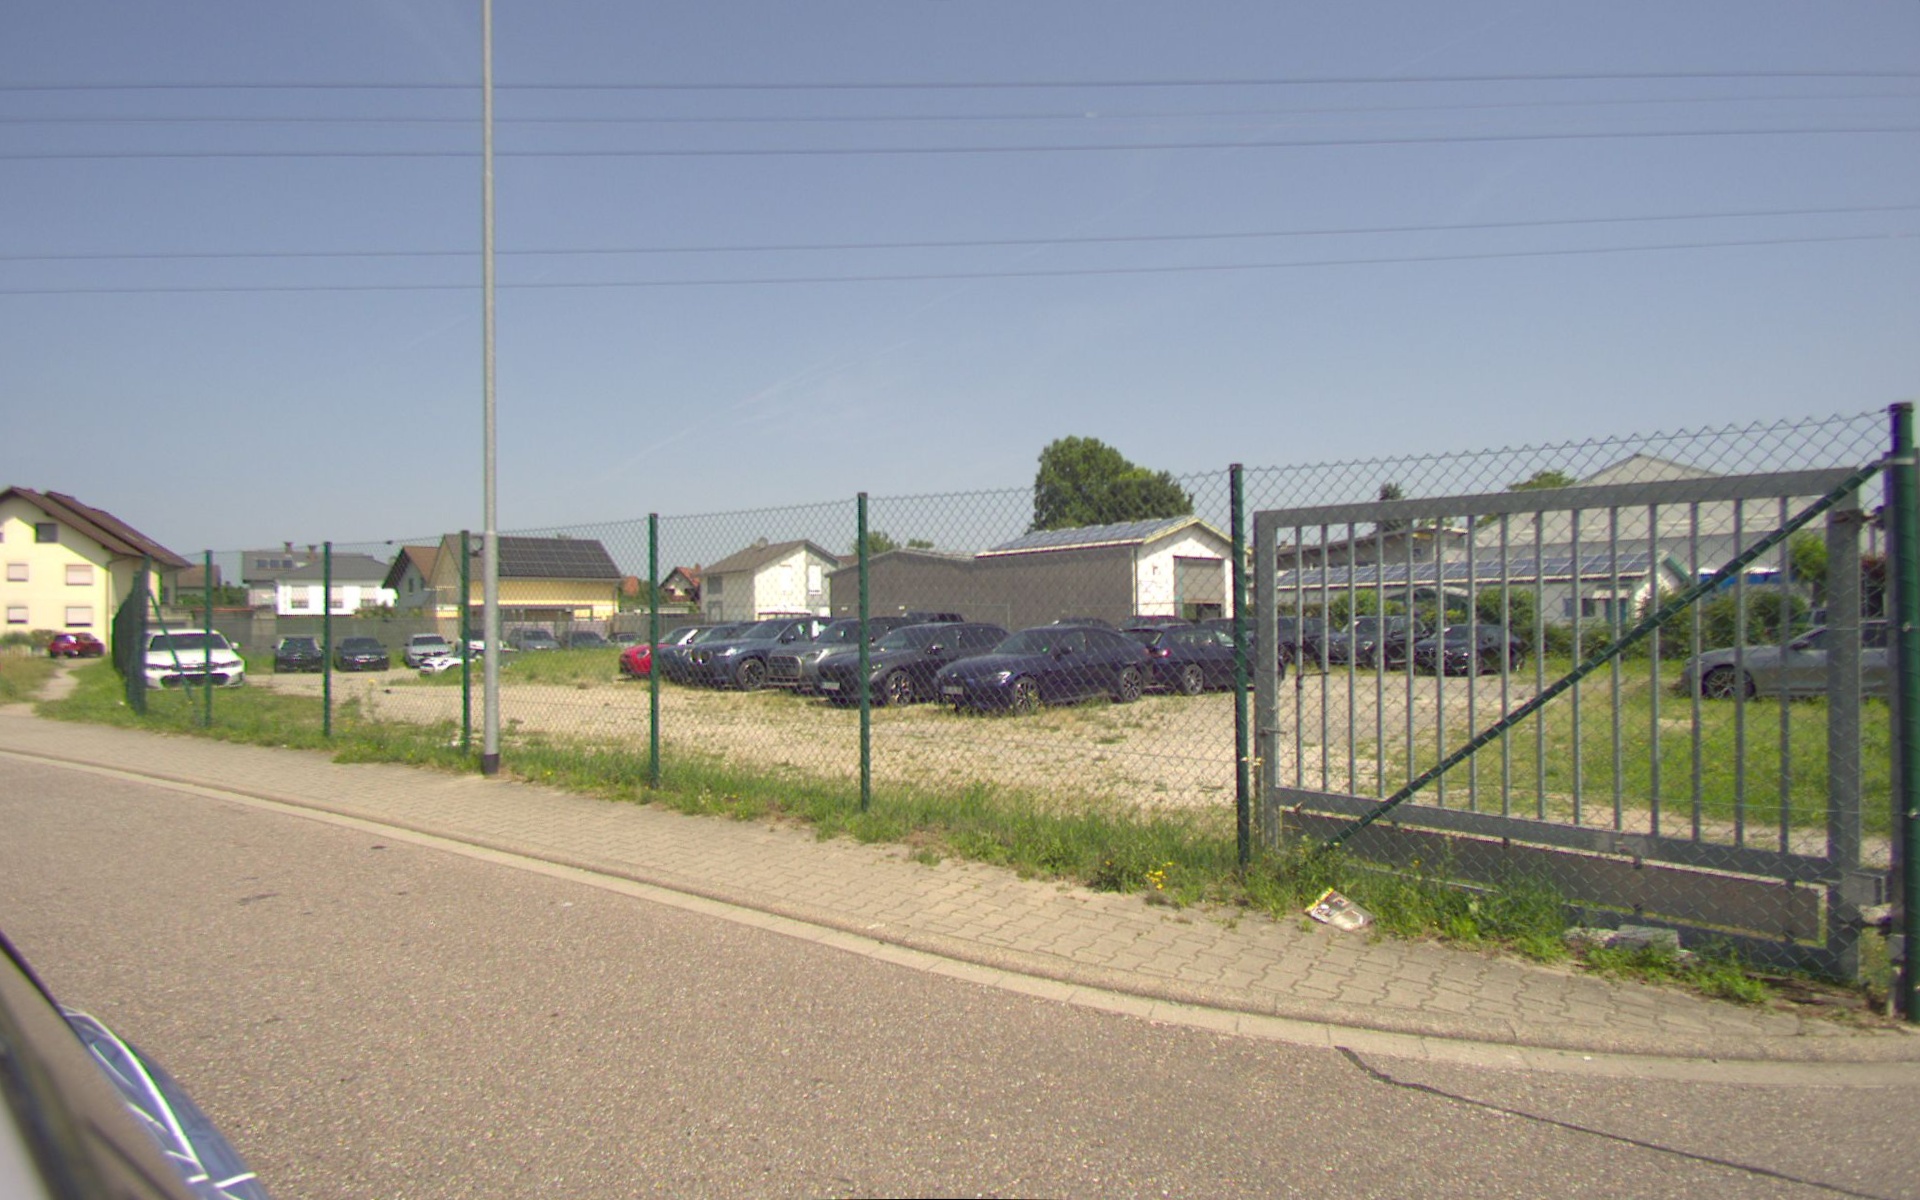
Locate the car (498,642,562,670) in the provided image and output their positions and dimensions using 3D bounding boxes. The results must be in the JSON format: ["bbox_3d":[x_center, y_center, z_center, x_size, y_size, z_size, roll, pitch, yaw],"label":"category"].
[{"bbox_3d":[-21.555,2.791,50.687,1.766,1.245,4.141,1,-2,-41],"label":"car"}]

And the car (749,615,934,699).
[{"bbox_3d":[-2.527,1.157,21.929,3.578,1.656,1.871,1,-2,-42],"label":"car"}]

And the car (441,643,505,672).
[{"bbox_3d":[-23.709,2.750,49.213,1.766,1.245,4.141,1,-2,-41],"label":"car"}]

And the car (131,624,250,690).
[{"bbox_3d":[-17.314,1.194,22.684,1.839,1.317,4.569,1,-2,-41],"label":"car"}]

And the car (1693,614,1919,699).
[{"bbox_3d":[14.430,0.872,16.228,1.216,1.270,4.147,1,-2,-42],"label":"car"}]

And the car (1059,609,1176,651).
[{"bbox_3d":[5.916,1.093,37.625,4.533,1.444,1.871,1,-2,-42],"label":"car"}]

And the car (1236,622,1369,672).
[{"bbox_3d":[10.911,1.427,32.071,4.593,1.446,2.004,1,-2,-42],"label":"car"}]

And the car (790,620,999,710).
[{"bbox_3d":[-1.210,1.185,19.653,3.712,1.566,1.871,1,-2,-42],"label":"car"}]

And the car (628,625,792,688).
[{"bbox_3d":[-6.288,1.371,25.612,3.593,1.444,1.871,1,-2,-42],"label":"car"}]

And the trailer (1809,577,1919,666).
[{"bbox_3d":[22.120,0.474,22.620,1.684,1.960,4.476,0,-1,-27],"label":"trailer"}]

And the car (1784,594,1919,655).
[{"bbox_3d":[25.309,0.662,27.664,1.847,1.610,4.007,1,-2,-40],"label":"car"}]

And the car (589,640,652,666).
[{"bbox_3d":[-17.977,2.787,53.504,1.766,1.245,4.141,1,-2,-41],"label":"car"}]

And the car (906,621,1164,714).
[{"bbox_3d":[1.448,1.103,18.131,4.593,1.446,2.004,1,-2,-42],"label":"car"}]

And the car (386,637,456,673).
[{"bbox_3d":[-25.295,2.530,47.425,2.010,1.548,4.141,1,-2,-41],"label":"car"}]

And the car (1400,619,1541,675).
[{"bbox_3d":[14.333,1.253,28.312,4.593,1.446,2.004,1,-2,-42],"label":"car"}]

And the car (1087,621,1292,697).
[{"bbox_3d":[5.002,1.190,21.807,4.350,1.446,2.006,0,-1,-38],"label":"car"}]

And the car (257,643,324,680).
[{"bbox_3d":[-28.887,2.606,43.621,1.839,1.381,4.569,1,-2,-41],"label":"car"}]

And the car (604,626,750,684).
[{"bbox_3d":[-7.721,1.460,27.697,3.388,1.464,1.871,1,-2,-42],"label":"car"}]

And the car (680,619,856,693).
[{"bbox_3d":[-4.453,1.244,23.728,3.640,1.573,1.871,1,-2,-42],"label":"car"}]

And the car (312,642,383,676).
[{"bbox_3d":[-27.409,2.609,45.250,2.010,1.353,4.424,1,-2,-41],"label":"car"}]

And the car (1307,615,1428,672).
[{"bbox_3d":[12.064,1.237,29.896,3.712,1.566,1.871,1,-2,-42],"label":"car"}]

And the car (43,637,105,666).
[{"bbox_3d":[-57.030,3.278,65.242,1.834,1.741,4.148,0,-1,-24],"label":"car"}]

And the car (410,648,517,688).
[{"bbox_3d":[-18.774,2.540,38.316,3.338,1.324,1.661,1,-2,-40],"label":"car"}]
